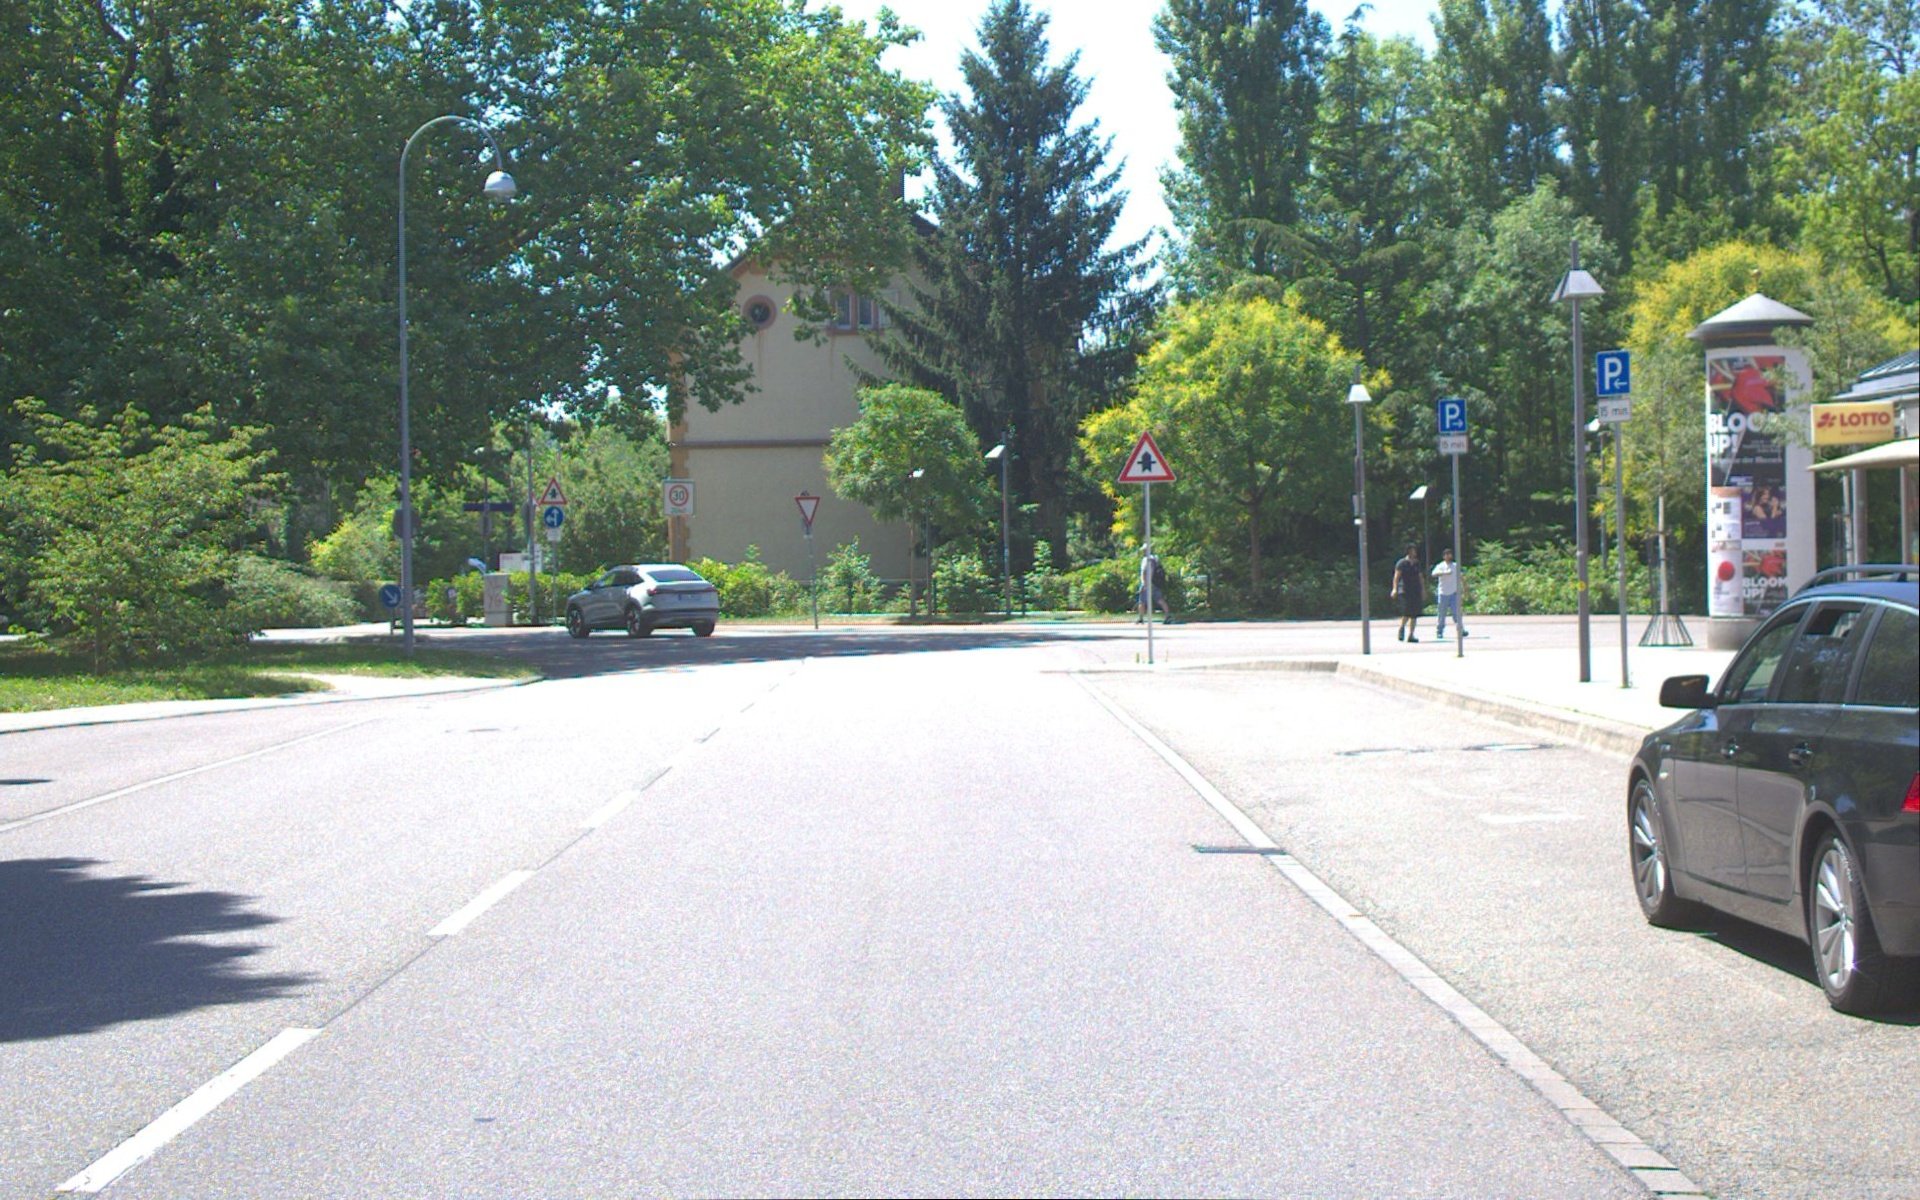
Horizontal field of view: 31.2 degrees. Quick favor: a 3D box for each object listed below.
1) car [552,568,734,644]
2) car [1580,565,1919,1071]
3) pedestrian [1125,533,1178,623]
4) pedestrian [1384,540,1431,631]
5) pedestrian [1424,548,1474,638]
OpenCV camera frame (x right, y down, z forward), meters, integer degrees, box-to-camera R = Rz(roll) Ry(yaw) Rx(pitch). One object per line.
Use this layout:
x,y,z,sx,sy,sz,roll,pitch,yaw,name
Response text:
-7.214,0.128,77.815,1.983,1.621,4.778,-2,1,-34,car
3.788,0.628,12.845,1.926,1.455,4.725,-4,1,-1,car
4.227,-0.487,75.914,0.856,1.959,0.804,0,1,40,pedestrian
8.186,-0.257,62.860,0.636,1.644,0.749,0,-2,28,pedestrian
9.133,-0.124,64.214,0.721,1.644,0.749,0,-2,28,pedestrian
